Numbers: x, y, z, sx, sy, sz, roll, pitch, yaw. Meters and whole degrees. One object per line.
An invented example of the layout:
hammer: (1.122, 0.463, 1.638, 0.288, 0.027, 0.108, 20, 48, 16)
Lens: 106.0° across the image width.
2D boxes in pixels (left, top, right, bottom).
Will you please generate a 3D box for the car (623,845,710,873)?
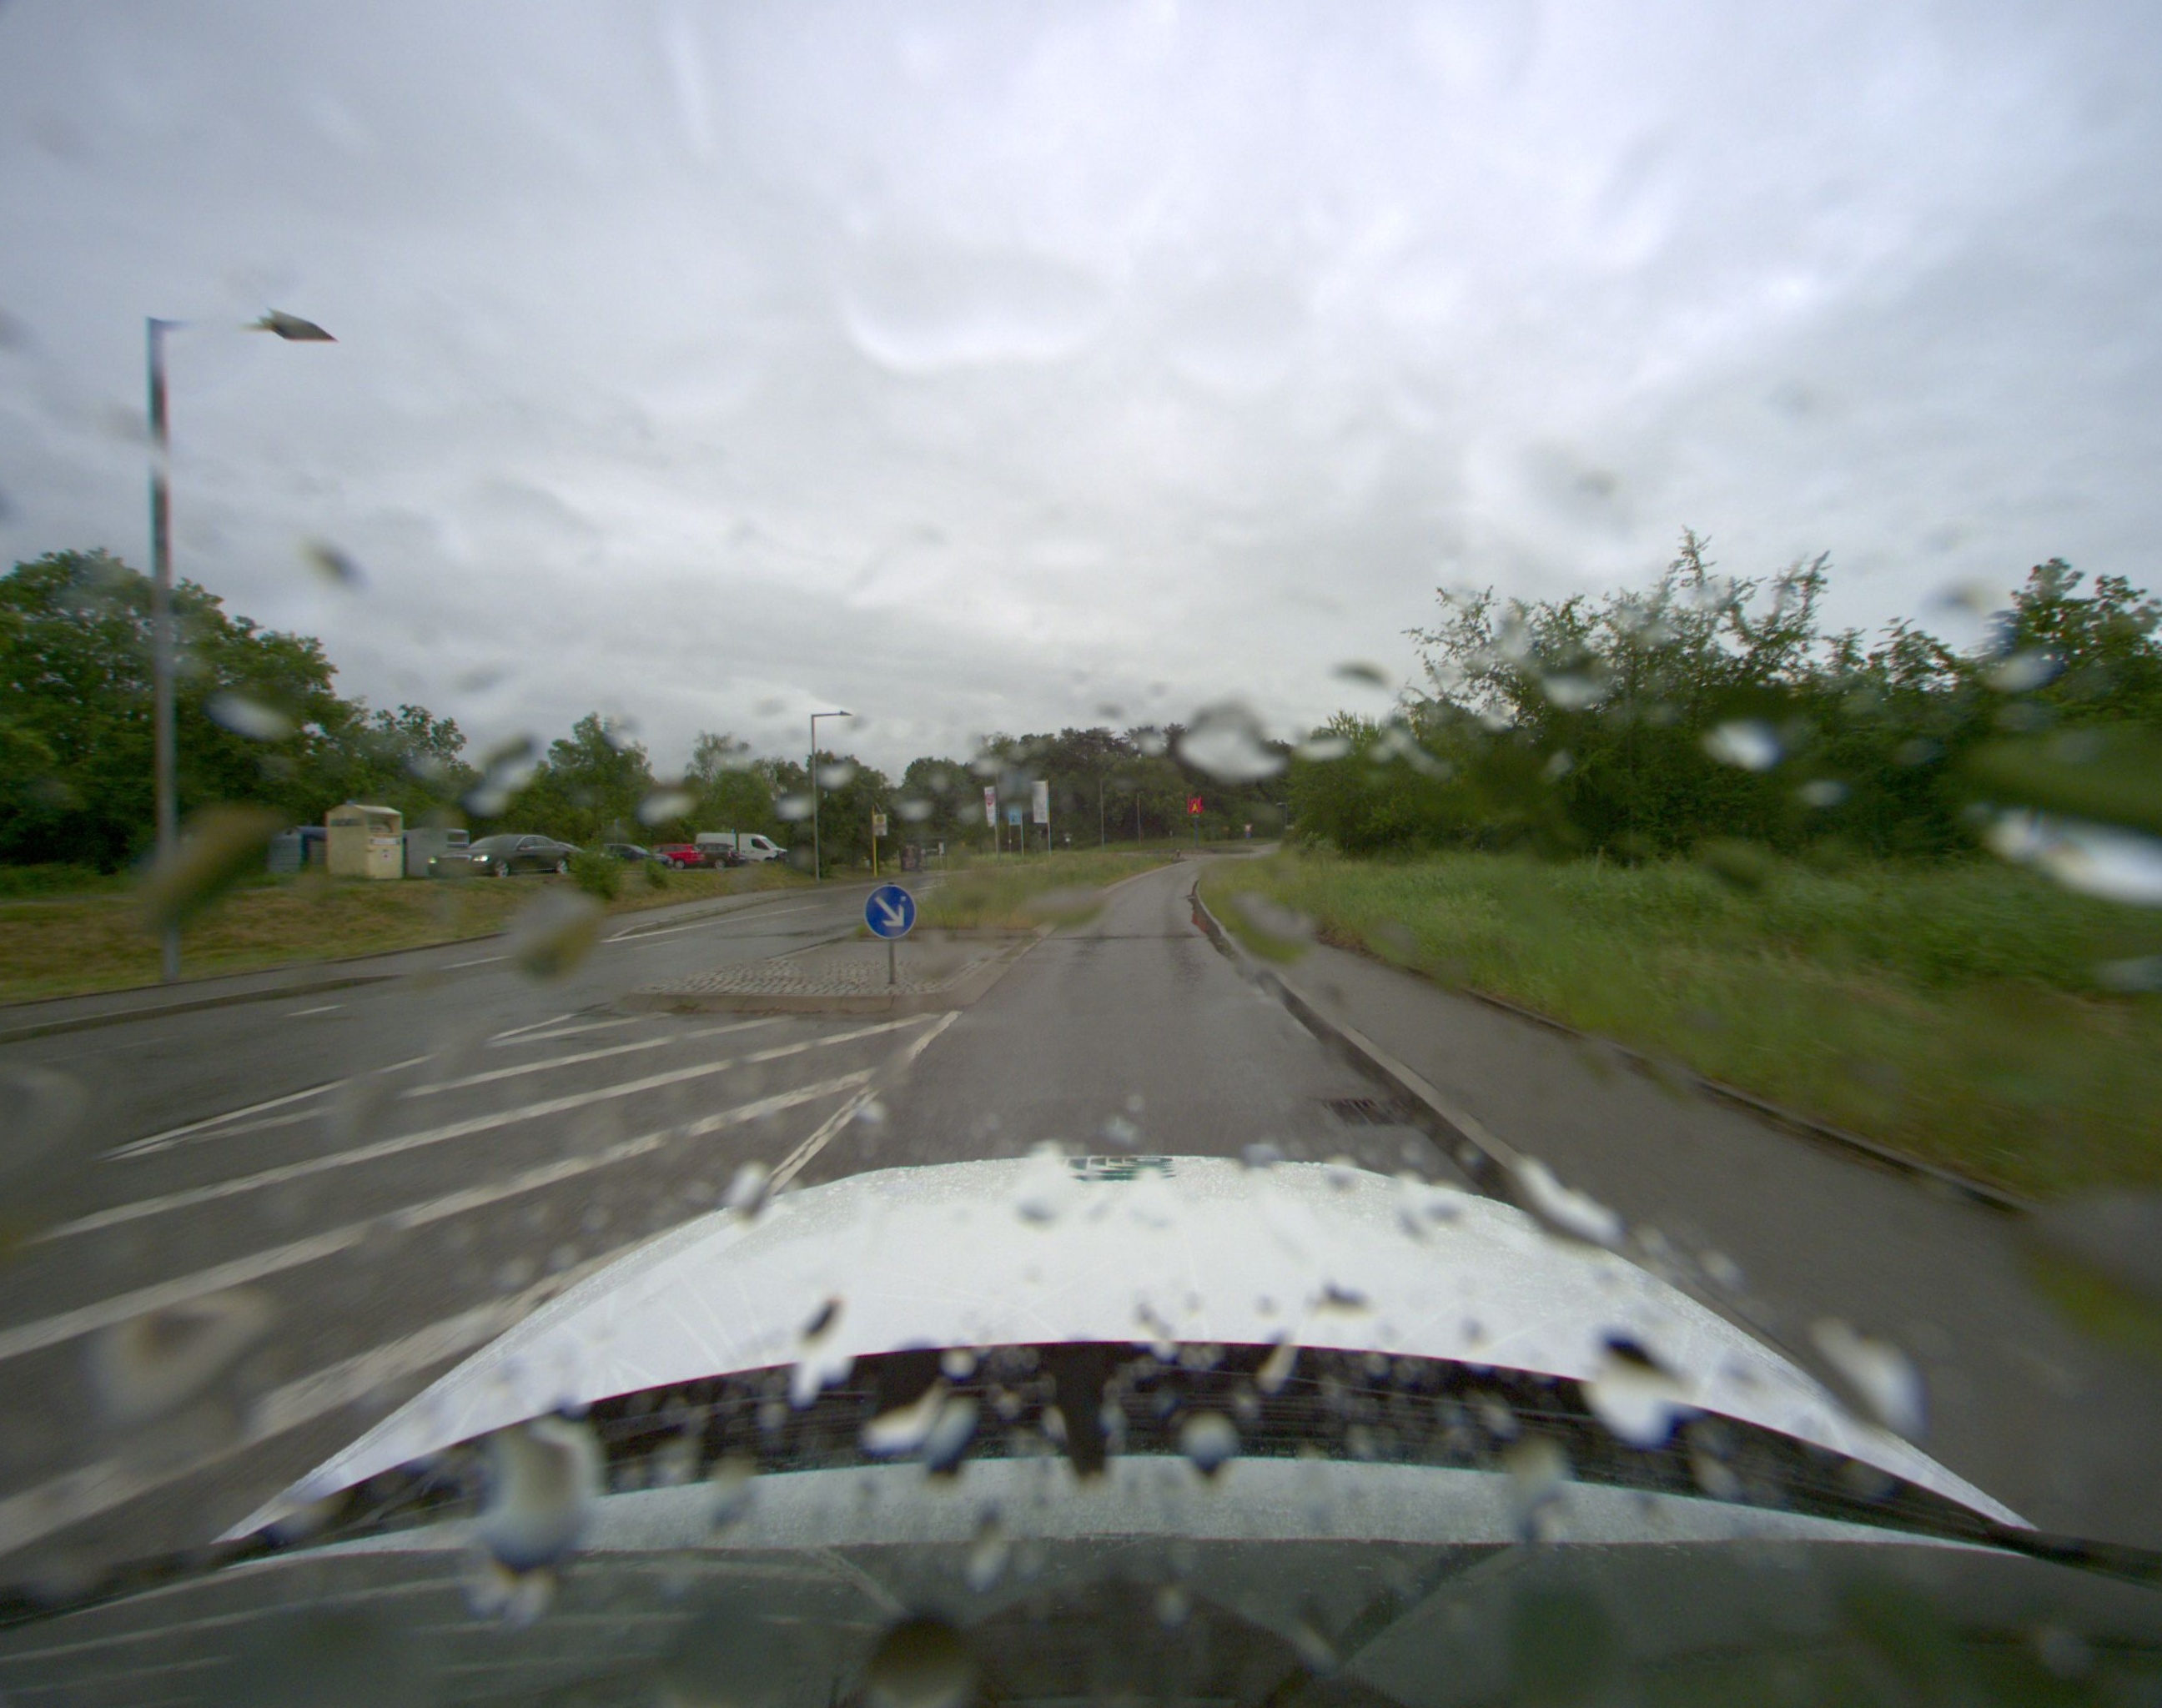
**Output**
car: (-23.571, 0.282, 46.425, 3.972, 1.469, 1.849, -2, 0, 2)

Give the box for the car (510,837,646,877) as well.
car: (-22.012, 0.123, 35.781, 4.689, 1.693, 2.005, -1, 0, 1)

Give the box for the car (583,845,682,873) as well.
car: (-22.650, 0.237, 41.205, 3.969, 1.364, 1.902, 1, 0, 3)

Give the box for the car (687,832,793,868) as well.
car: (-23.960, -0.252, 57.393, 6.539, 2.397, 2.137, 0, -1, -3)

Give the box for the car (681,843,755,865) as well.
car: (-23.180, 0.009, 52.112, 3.970, 1.364, 1.654, 1, 0, 3)

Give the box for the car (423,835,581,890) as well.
car: (-18.204, 0.204, 25.912, 1.685, 1.568, 4.543, 1, 1, 1)

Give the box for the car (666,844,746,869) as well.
car: (-22.799, 0.169, 49.628, 3.970, 1.364, 1.850, -2, 0, 3)
